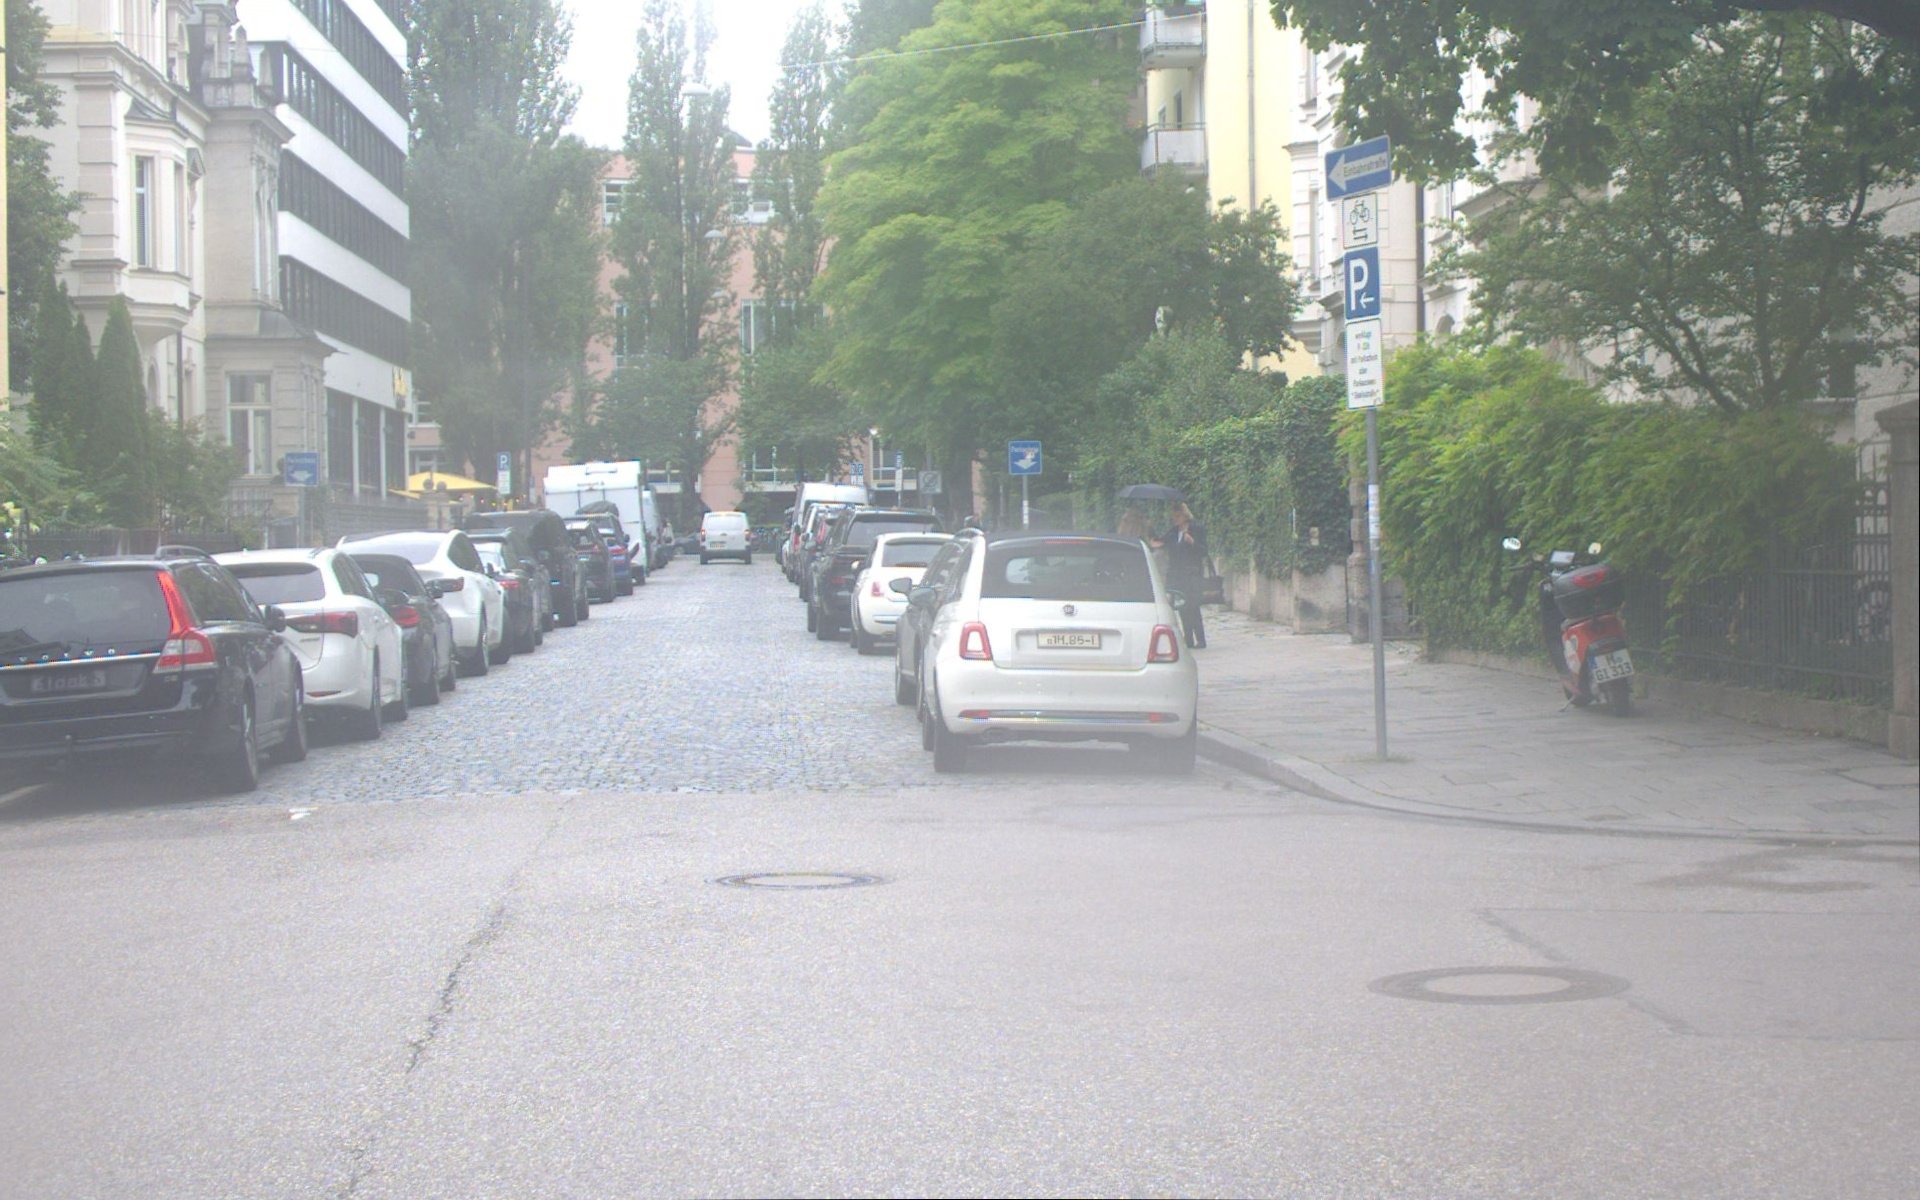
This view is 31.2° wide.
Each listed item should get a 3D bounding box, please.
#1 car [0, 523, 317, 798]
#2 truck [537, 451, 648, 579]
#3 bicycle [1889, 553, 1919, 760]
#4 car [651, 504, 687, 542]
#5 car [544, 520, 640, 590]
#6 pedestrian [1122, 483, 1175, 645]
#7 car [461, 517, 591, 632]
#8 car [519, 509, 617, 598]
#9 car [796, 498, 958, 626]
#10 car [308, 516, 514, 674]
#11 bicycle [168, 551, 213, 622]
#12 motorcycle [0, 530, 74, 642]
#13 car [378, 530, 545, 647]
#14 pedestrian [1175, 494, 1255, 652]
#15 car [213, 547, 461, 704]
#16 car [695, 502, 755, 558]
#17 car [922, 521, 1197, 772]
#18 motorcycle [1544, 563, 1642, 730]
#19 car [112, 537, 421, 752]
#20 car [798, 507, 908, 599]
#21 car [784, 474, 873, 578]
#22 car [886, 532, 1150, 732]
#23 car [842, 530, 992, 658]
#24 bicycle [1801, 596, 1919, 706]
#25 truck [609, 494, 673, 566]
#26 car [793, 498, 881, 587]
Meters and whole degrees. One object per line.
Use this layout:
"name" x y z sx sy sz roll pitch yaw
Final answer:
"car" -5.327 0.315 22.197 1.852 1.580 4.749 1 1 -5
"truck" -9.121 -2.138 85.888 2.508 3.021 6.386 -2 2 -5
"bicycle" 6.094 0.315 18.869 1.838 1.120 0.562 1 1 7
"car" -11.887 -3.140 140.342 1.276 1.536 3.119 1 1 -1
"car" -7.935 -0.972 74.324 1.939 1.454 4.059 1 1 -5
"pedestrian" 2.174 -0.416 39.655 0.576 1.844 0.681 1 1 4
"car" -6.373 -0.389 50.783 1.579 1.584 4.057 -2 1 -3
"car" -7.832 -0.938 68.953 1.773 1.712 4.392 1 1 -4
"car" -1.228 -0.541 48.121 1.874 1.667 5.492 1 1 -5
"car" -6.063 -0.083 38.399 1.773 1.642 4.391 1 1 -3
"bicycle" -11.112 -0.203 49.676 0.352 0.999 1.573 1 1 -2
"motorcycle" -10.151 -0.164 37.820 0.491 1.190 1.580 1 1 -4
"car" -6.410 -0.172 44.561 1.773 1.424 4.392 1 1 -4
"pedestrian" 2.941 -0.312 39.687 0.628 1.802 0.660 0 1 -34
"car" -5.757 0.196 32.227 1.773 1.355 4.392 1 1 -4
"car" -8.265 -2.441 121.147 1.996 1.929 4.000 0 1 -2
"car" 0.571 0.250 22.372 1.501 1.466 3.796 -1 1 -2
"motorcycle" 4.261 0.296 23.201 0.362 1.086 1.404 1 1 -1
"car" -5.368 0.290 27.141 1.773 1.531 4.541 -1 1 -4
"car" -2.174 -0.935 68.490 1.963 1.753 4.955 1 1 -4
"car" -3.362 -1.903 87.141 1.894 2.418 5.612 4 1 -4
"car" 0.389 0.209 28.377 1.648 1.417 4.633 4 0 -5
"car" -0.575 -0.095 42.852 1.630 1.464 3.660 2 1 -4
"bicycle" 7.245 0.392 27.514 0.491 0.809 2.273 1 1 1
"truck" -10.596 -2.323 114.443 1.993 2.338 4.069 1 1 -4
"car" -2.949 -1.363 81.506 1.800 1.943 4.861 3 1 -4
